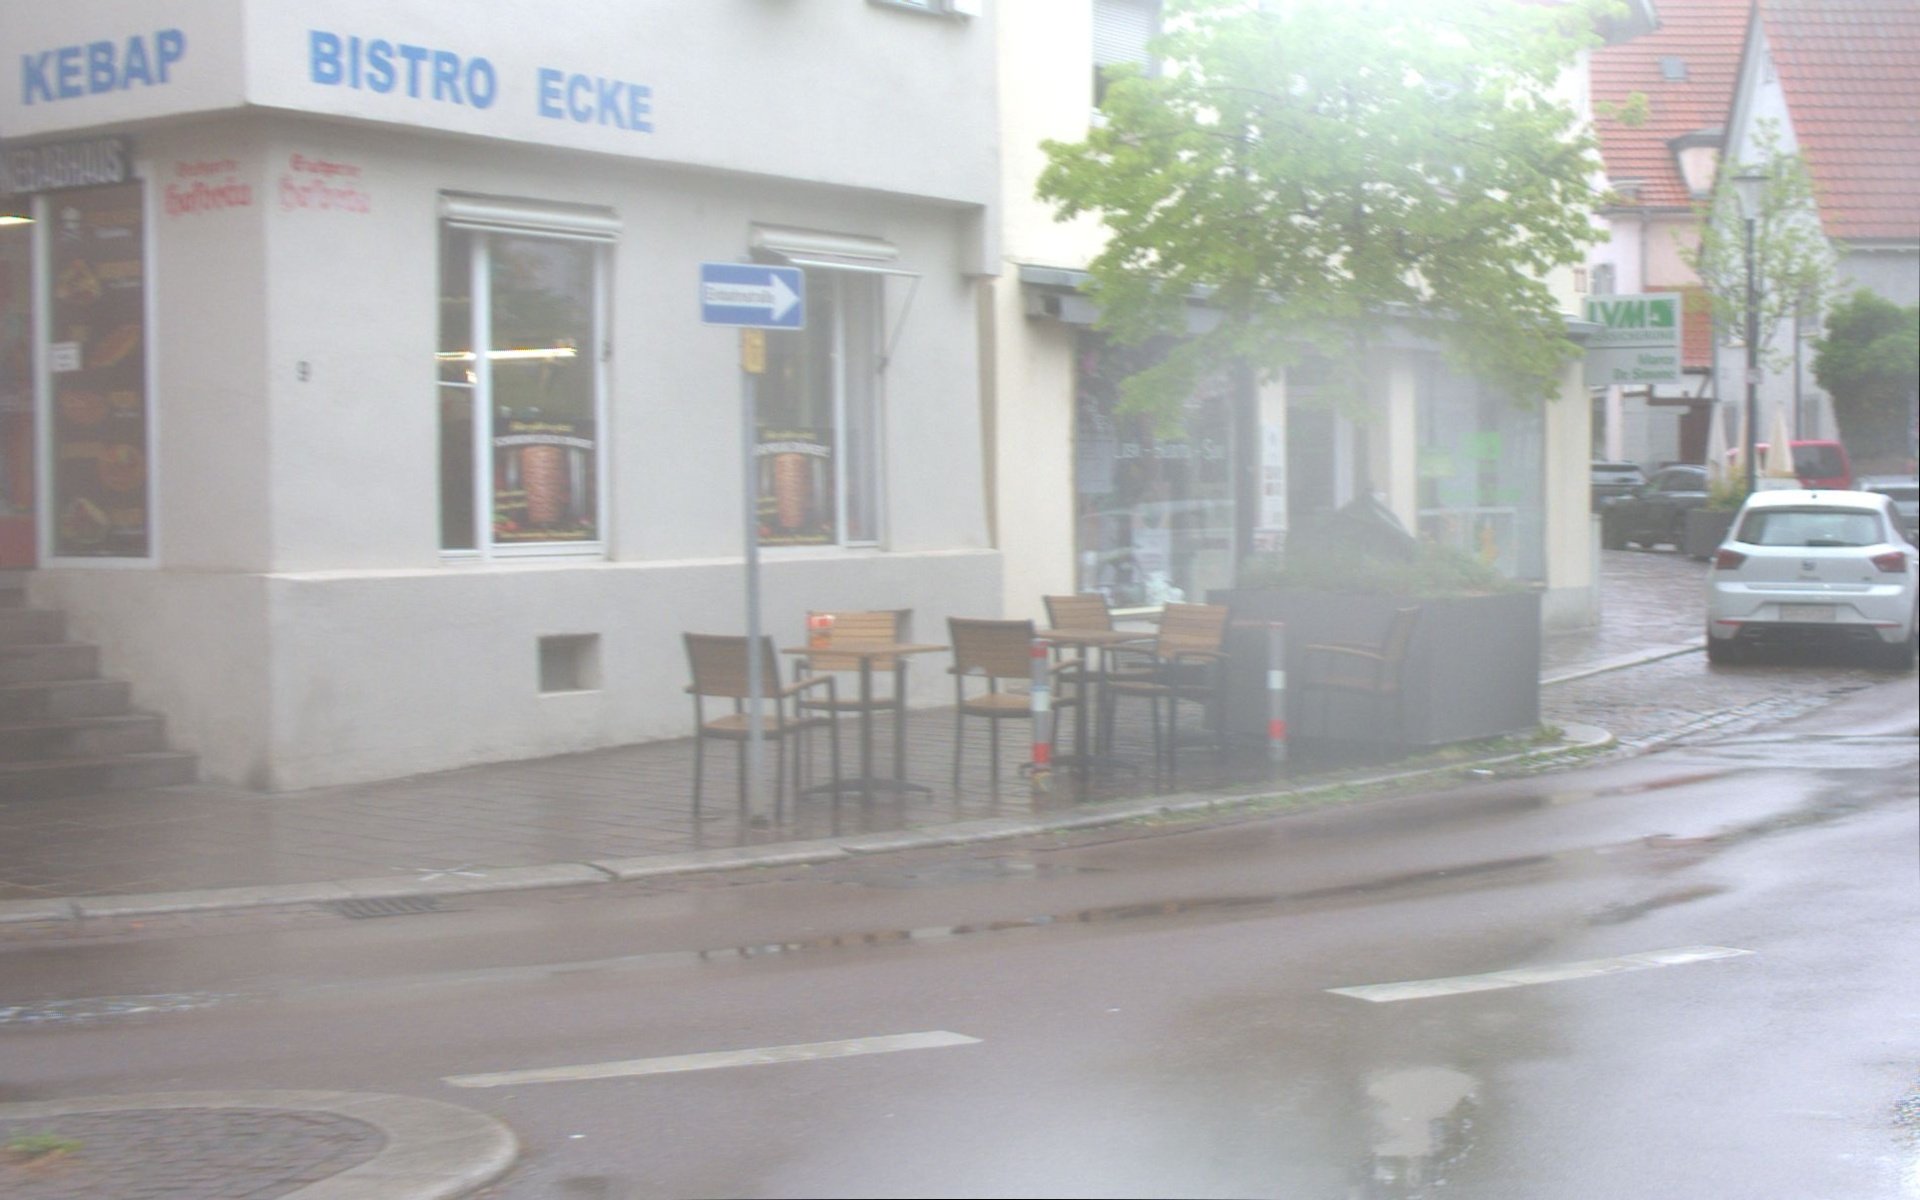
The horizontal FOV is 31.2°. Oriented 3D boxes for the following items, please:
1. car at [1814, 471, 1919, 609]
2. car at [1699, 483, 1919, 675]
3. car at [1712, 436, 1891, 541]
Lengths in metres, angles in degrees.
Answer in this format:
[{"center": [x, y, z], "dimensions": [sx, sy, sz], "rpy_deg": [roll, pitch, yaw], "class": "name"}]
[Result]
[{"center": [11.075, -0.689, 40.444], "dimensions": [1.876, 1.535, 4.398], "rpy_deg": [0, 1, 12], "class": "car"}, {"center": [7.545, -0.241, 29.776], "dimensions": [1.851, 1.447, 4.070], "rpy_deg": [0, 3, 18], "class": "car"}, {"center": [15.410, -2.075, 63.152], "dimensions": [1.894, 1.805, 4.001], "rpy_deg": [1, 3, -6], "class": "car"}]
